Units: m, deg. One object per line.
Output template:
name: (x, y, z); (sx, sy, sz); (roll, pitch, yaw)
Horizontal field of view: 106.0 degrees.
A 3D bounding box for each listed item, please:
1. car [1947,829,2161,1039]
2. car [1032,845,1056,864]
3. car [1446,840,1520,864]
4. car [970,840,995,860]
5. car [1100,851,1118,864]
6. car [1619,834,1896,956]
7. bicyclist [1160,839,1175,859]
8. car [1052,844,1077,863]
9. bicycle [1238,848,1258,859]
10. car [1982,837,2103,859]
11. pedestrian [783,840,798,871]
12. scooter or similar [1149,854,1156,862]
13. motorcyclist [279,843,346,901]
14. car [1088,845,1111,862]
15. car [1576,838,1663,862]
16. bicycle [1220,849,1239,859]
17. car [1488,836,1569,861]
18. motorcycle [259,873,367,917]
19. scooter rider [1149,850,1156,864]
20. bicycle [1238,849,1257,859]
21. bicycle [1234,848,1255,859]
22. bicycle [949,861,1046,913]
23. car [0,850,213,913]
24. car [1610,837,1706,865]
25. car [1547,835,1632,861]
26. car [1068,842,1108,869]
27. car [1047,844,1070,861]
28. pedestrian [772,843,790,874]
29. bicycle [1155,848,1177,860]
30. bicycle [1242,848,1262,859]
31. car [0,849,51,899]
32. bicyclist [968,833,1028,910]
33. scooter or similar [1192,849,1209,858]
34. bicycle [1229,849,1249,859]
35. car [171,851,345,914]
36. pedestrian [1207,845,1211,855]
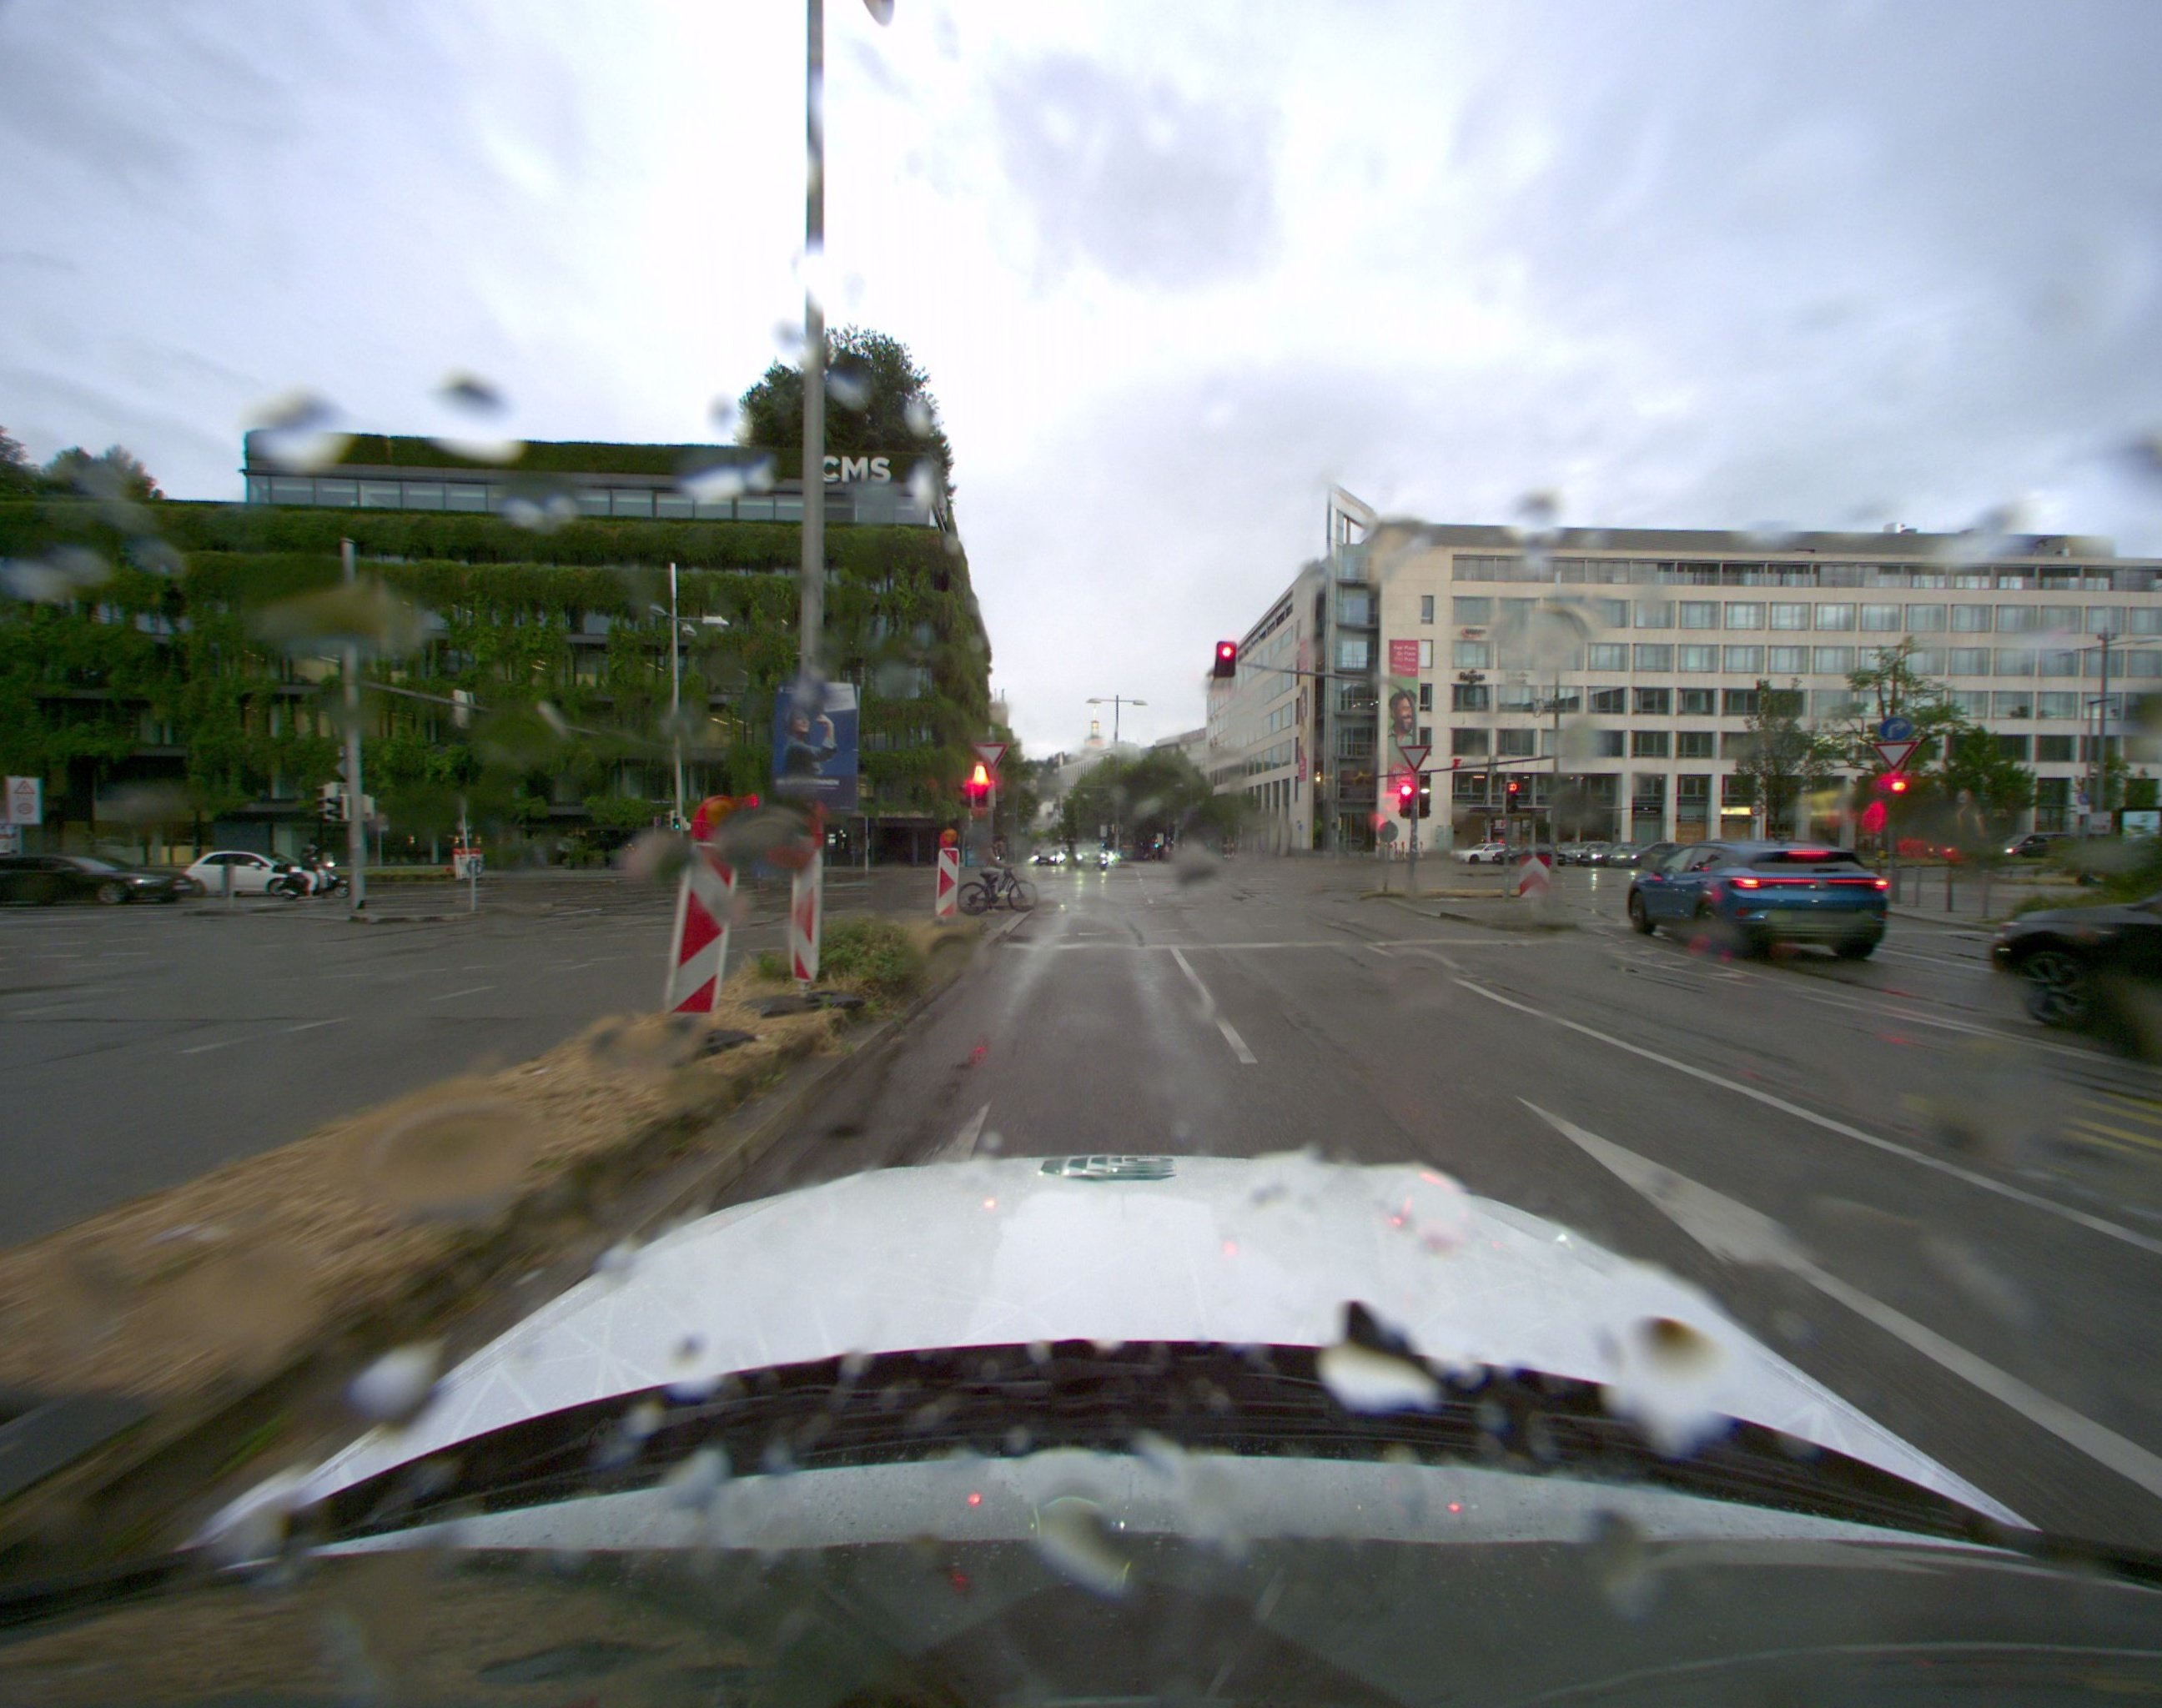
car: (8.770, 0.584, 5.436); (1.770, 1.540, 4.151); (0, 0, 4)
car: (-2.989, 0.031, 66.413); (1.851, 1.448, 4.617); (-1, 1, -2)
car: (28.203, -0.135, 57.141); (4.455, 1.598, 1.991); (-1, 0, -13)
car: (-9.330, -0.386, 77.163); (1.989, 1.895, 4.461); (-1, 0, -2)
car: (3.409, 0.401, 101.074); (1.988, 1.443, 4.554); (-1, 1, -1)
car: (9.998, 0.490, 12.521); (1.690, 1.529, 4.446); (0, 0, 17)
bicyclist: (8.305, -0.482, 78.187); (0.798, 1.975, 1.101); (0, 0, -39)
car: (-1.649, -0.095, 79.723); (2.171, 1.823, 4.637); (-1, 1, -4)
bicycle: (15.213, -0.043, 74.050); (1.778, 0.934, 0.478); (0, 1, 43)
car: (60.527, -0.358, 51.403); (4.590, 1.348, 1.939); (0, 1, 35)
pedestrian: (-16.930, 0.077, 47.443); (0.744, 1.758, 0.969); (-1, 0, -22)
scooter or similar: (8.862, 0.483, 101.105); (0.555, 1.007, 1.822); (-1, 0, -3)
motorcyclist: (-23.238, 0.535, 24.661); (1.187, 1.703, 0.844); (-1, 0, -15)
car: (1.804, -0.082, 79.752); (1.988, 1.443, 4.554); (-1, 2, -1)
car: (31.645, -0.234, 47.873); (4.455, 1.348, 1.715); (-1, 0, -13)
bicycle: (14.778, -0.031, 80.989); (1.786, 0.934, 0.476); (-1, 0, 4)
car: (29.549, -0.357, 53.771); (4.451, 1.598, 1.993); (-1, 0, -10)
motorcycle: (-23.216, 1.225, 24.668); (2.231, 1.210, 0.844); (-1, 0, -15)
scooter rider: (8.863, 0.365, 101.115); (0.760, 1.774, 0.795); (-1, 0, -3)
bicycle: (15.276, -0.008, 74.794); (1.778, 0.934, 0.478); (0, 1, 43)
bicycle: (14.552, -0.027, 72.458); (1.778, 0.934, 0.478); (0, 1, 43)
bicycle: (-1.927, 0.745, 18.698); (2.146, 1.103, 0.845); (-1, 0, -11)
car: (-28.428, 0.739, 23.147); (4.805, 1.652, 1.963); (-1, 0, -12)
car: (31.525, -0.158, 44.515); (4.452, 1.464, 1.716); (-1, 0, -11)
car: (32.013, -0.382, 51.290); (4.455, 1.598, 1.991); (-1, 0, -13)
car: (0.371, 0.049, 49.596); (1.991, 1.550, 4.546); (-1, 1, -6)
car: (-2.020, -0.164, 73.025); (1.853, 1.448, 4.614); (-1, 1, -4)
pedestrian: (-17.438, 0.268, 47.259); (0.939, 1.758, 1.163); (-1, 0, -22)
bicycle: (8.182, 0.029, 78.336); (0.798, 1.117, 2.229); (-1, 0, -39)
bicycle: (15.343, -0.042, 73.080); (1.778, 0.934, 0.478); (0, 1, 43)
car: (-35.246, 0.644, 25.175); (3.893, 1.523, 1.865); (-1, 0, -11)
bicyclist: (-1.917, 0.387, 18.714); (1.295, 1.704, 0.845); (-1, 0, -11)
scooter or similar: (12.917, -0.052, 88.085); (1.750, 0.878, 0.486); (-1, 0, -18)
bicycle: (15.343, -0.031, 79.124); (1.786, 0.934, 0.476); (-1, 0, 4)
car: (-26.843, 0.876, 26.698); (3.450, 1.922, 1.993); (-1, 0, -11)
pedestrian: (15.406, -0.462, 98.019); (0.352, 1.173, 0.414); (-1, 0, -2)
